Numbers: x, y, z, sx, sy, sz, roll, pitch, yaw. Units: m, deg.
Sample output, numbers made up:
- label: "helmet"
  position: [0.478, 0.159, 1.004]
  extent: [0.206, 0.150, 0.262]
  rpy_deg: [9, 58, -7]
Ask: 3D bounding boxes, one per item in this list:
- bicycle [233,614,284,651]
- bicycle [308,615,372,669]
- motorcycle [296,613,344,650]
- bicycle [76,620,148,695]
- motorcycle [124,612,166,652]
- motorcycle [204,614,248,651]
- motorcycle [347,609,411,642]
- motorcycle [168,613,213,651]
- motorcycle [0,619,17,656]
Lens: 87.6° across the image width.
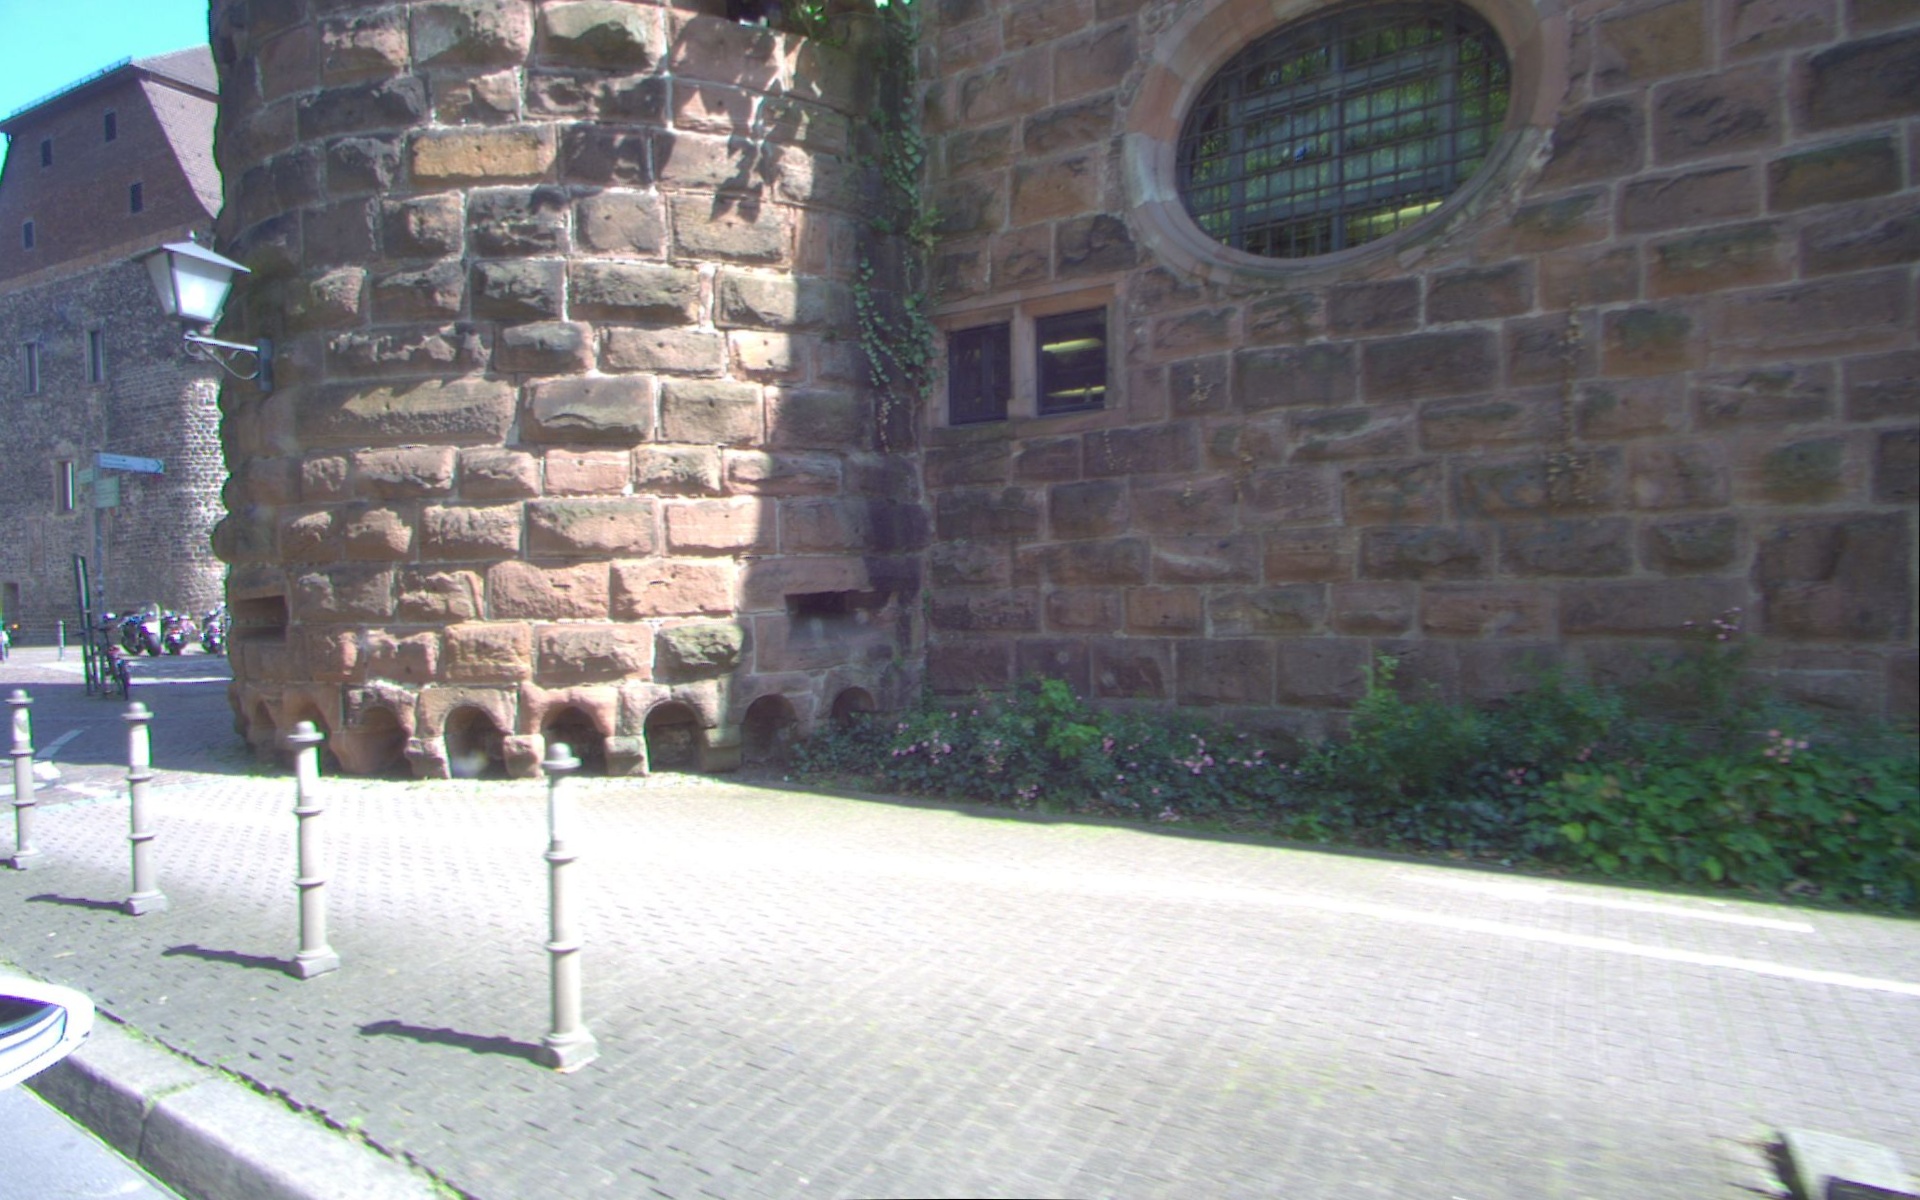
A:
- label: "bicycle"
  position: [-19.298, 0.885, 27.525]
  extent: [1.798, 1.002, 0.403]
  rpy_deg: [-1, -1, 30]
- label: "bicycle"
  position: [-12.665, 0.847, 20.429]
  extent: [2.027, 1.043, 0.494]
  rpy_deg: [-1, -2, 41]
- label: "motorcycle"
  position: [-18.252, 0.885, 28.533]
  extent: [1.677, 1.032, 0.498]
  rpy_deg: [-1, -2, 33]
- label: "bicycle"
  position: [-12.509, 0.822, 14.752]
  extent: [2.027, 1.044, 0.494]
  rpy_deg: [-1, -1, 41]
- label: "motorcycle"
  position: [-20.926, 0.817, 25.702]
  extent: [1.339, 0.985, 0.435]
  rpy_deg: [-1, -1, 33]
- label: "motorcycle"
  position: [-19.716, 0.866, 26.903]
  extent: [1.446, 0.985, 0.457]
  rpy_deg: [-1, -1, 33]
- label: "motorcycle"
  position: [-18.573, 0.834, 32.045]
  extent: [0.495, 1.032, 1.686]
  rpy_deg: [-1, -2, 45]
- label: "motorcycle"
  position: [-20.189, 0.841, 26.265]
  extent: [1.446, 0.985, 0.457]
  rpy_deg: [-1, -1, 33]
- label: "motorcycle"
  position: [-22.744, 0.864, 23.393]
  extent: [2.247, 0.829, 0.482]
  rpy_deg: [0, 2, 33]
